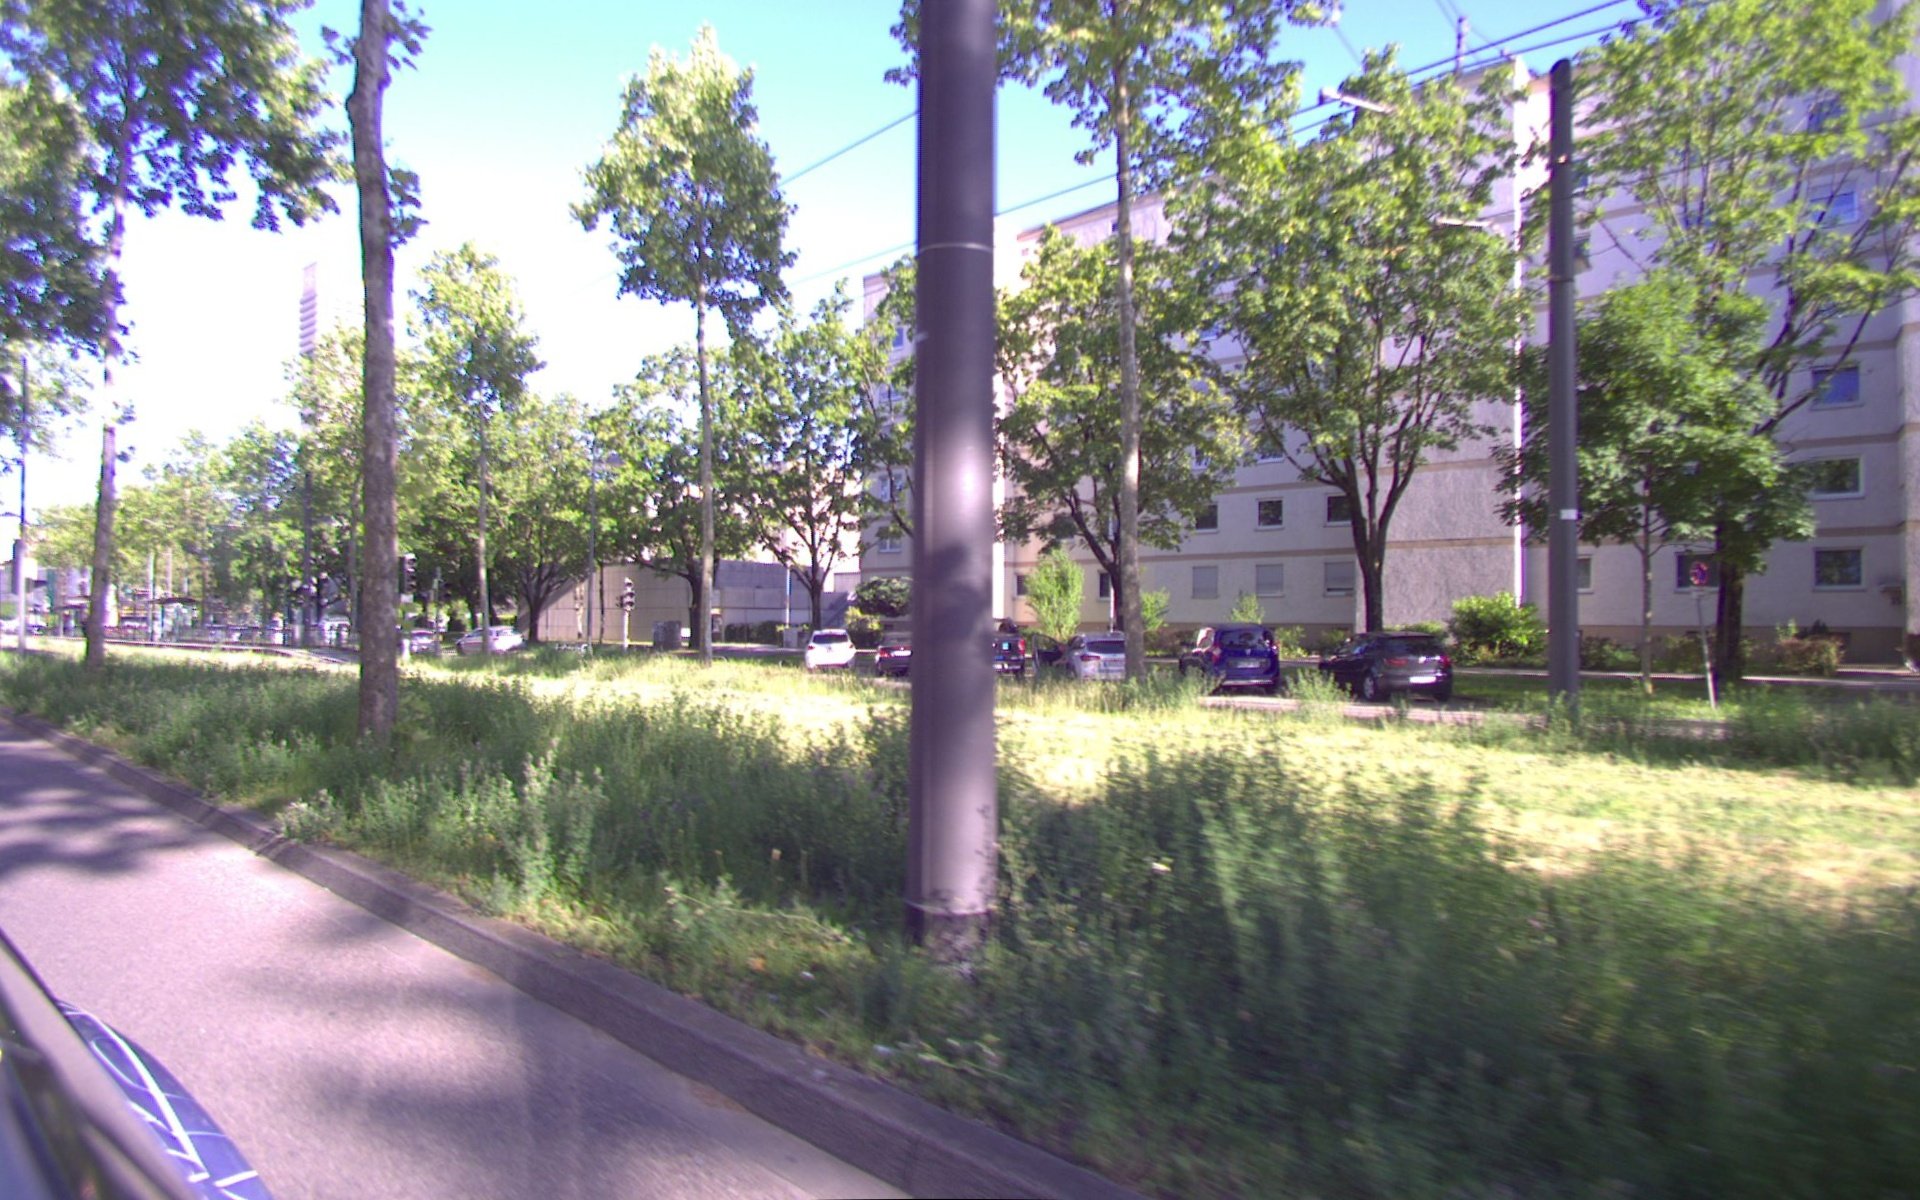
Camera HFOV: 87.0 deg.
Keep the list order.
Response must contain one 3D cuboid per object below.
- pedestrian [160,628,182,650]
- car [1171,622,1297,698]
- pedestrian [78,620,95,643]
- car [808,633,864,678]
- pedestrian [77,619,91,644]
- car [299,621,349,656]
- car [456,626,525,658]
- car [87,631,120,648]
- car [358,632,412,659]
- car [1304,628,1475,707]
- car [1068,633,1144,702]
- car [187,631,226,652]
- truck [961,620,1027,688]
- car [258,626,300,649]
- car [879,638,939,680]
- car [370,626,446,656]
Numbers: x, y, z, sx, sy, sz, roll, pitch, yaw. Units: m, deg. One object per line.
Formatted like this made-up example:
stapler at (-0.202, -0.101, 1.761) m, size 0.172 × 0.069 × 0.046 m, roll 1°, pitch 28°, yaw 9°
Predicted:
pedestrian at (-47.199, 2.341, 60.547) m, size 0.825 × 1.270 × 0.802 m, roll 0°, pitch -1°, yaw -20°
car at (6.637, 1.437, 24.969) m, size 1.626 × 1.658 × 4.089 m, roll -2°, pitch -2°, yaw -5°
pedestrian at (-67.083, 2.413, 77.747) m, size 0.754 × 1.702 × 0.873 m, roll -2°, pitch -2°, yaw 42°
car at (-4.289, 1.870, 34.707) m, size 1.811 × 1.446 × 3.832 m, roll 0°, pitch -2°, yaw -8°
pedestrian at (-67.742, 2.428, 78.228) m, size 0.636 × 1.881 × 0.712 m, roll -2°, pitch -2°, yaw 42°
car at (-41.894, 2.529, 66.603) m, size 3.931 × 2.279 × 1.696 m, roll -2°, pitch -3°, yaw 41°
car at (-23.757, 2.094, 51.165) m, size 4.200 × 1.557 × 1.695 m, roll -2°, pitch -3°, yaw 43°
car at (-73.457, 3.347, 86.771) m, size 3.533 × 1.438 × 1.589 m, roll -2°, pitch -3°, yaw 40°
car at (-33.634, 2.649, 59.119) m, size 3.934 × 1.557 × 1.694 m, roll -2°, pitch -3°, yaw 44°
car at (9.428, 1.437, 22.604) m, size 1.626 × 1.487 × 4.090 m, roll -4°, pitch -2°, yaw -6°
car at (3.827, 1.736, 26.991) m, size 1.630 × 1.658 × 4.080 m, roll 2°, pitch -2°, yaw 4°
car at (-56.231, 3.103, 75.487) m, size 3.934 × 1.557 × 1.695 m, roll -2°, pitch -3°, yaw 44°
truck at (1.047, 1.520, 29.433) m, size 1.631 × 1.788 × 4.078 m, roll -2°, pitch -2°, yaw 5°
car at (-49.777, 2.731, 73.917) m, size 3.928 × 1.648 × 1.577 m, roll -2°, pitch -3°, yaw 41°
car at (-1.579, 1.914, 32.628) m, size 1.814 × 1.256 × 3.825 m, roll 0°, pitch -4°, yaw -1°
car at (-26.537, 1.965, 48.601) m, size 4.168 × 1.400 × 1.971 m, roll -2°, pitch -3°, yaw 43°
